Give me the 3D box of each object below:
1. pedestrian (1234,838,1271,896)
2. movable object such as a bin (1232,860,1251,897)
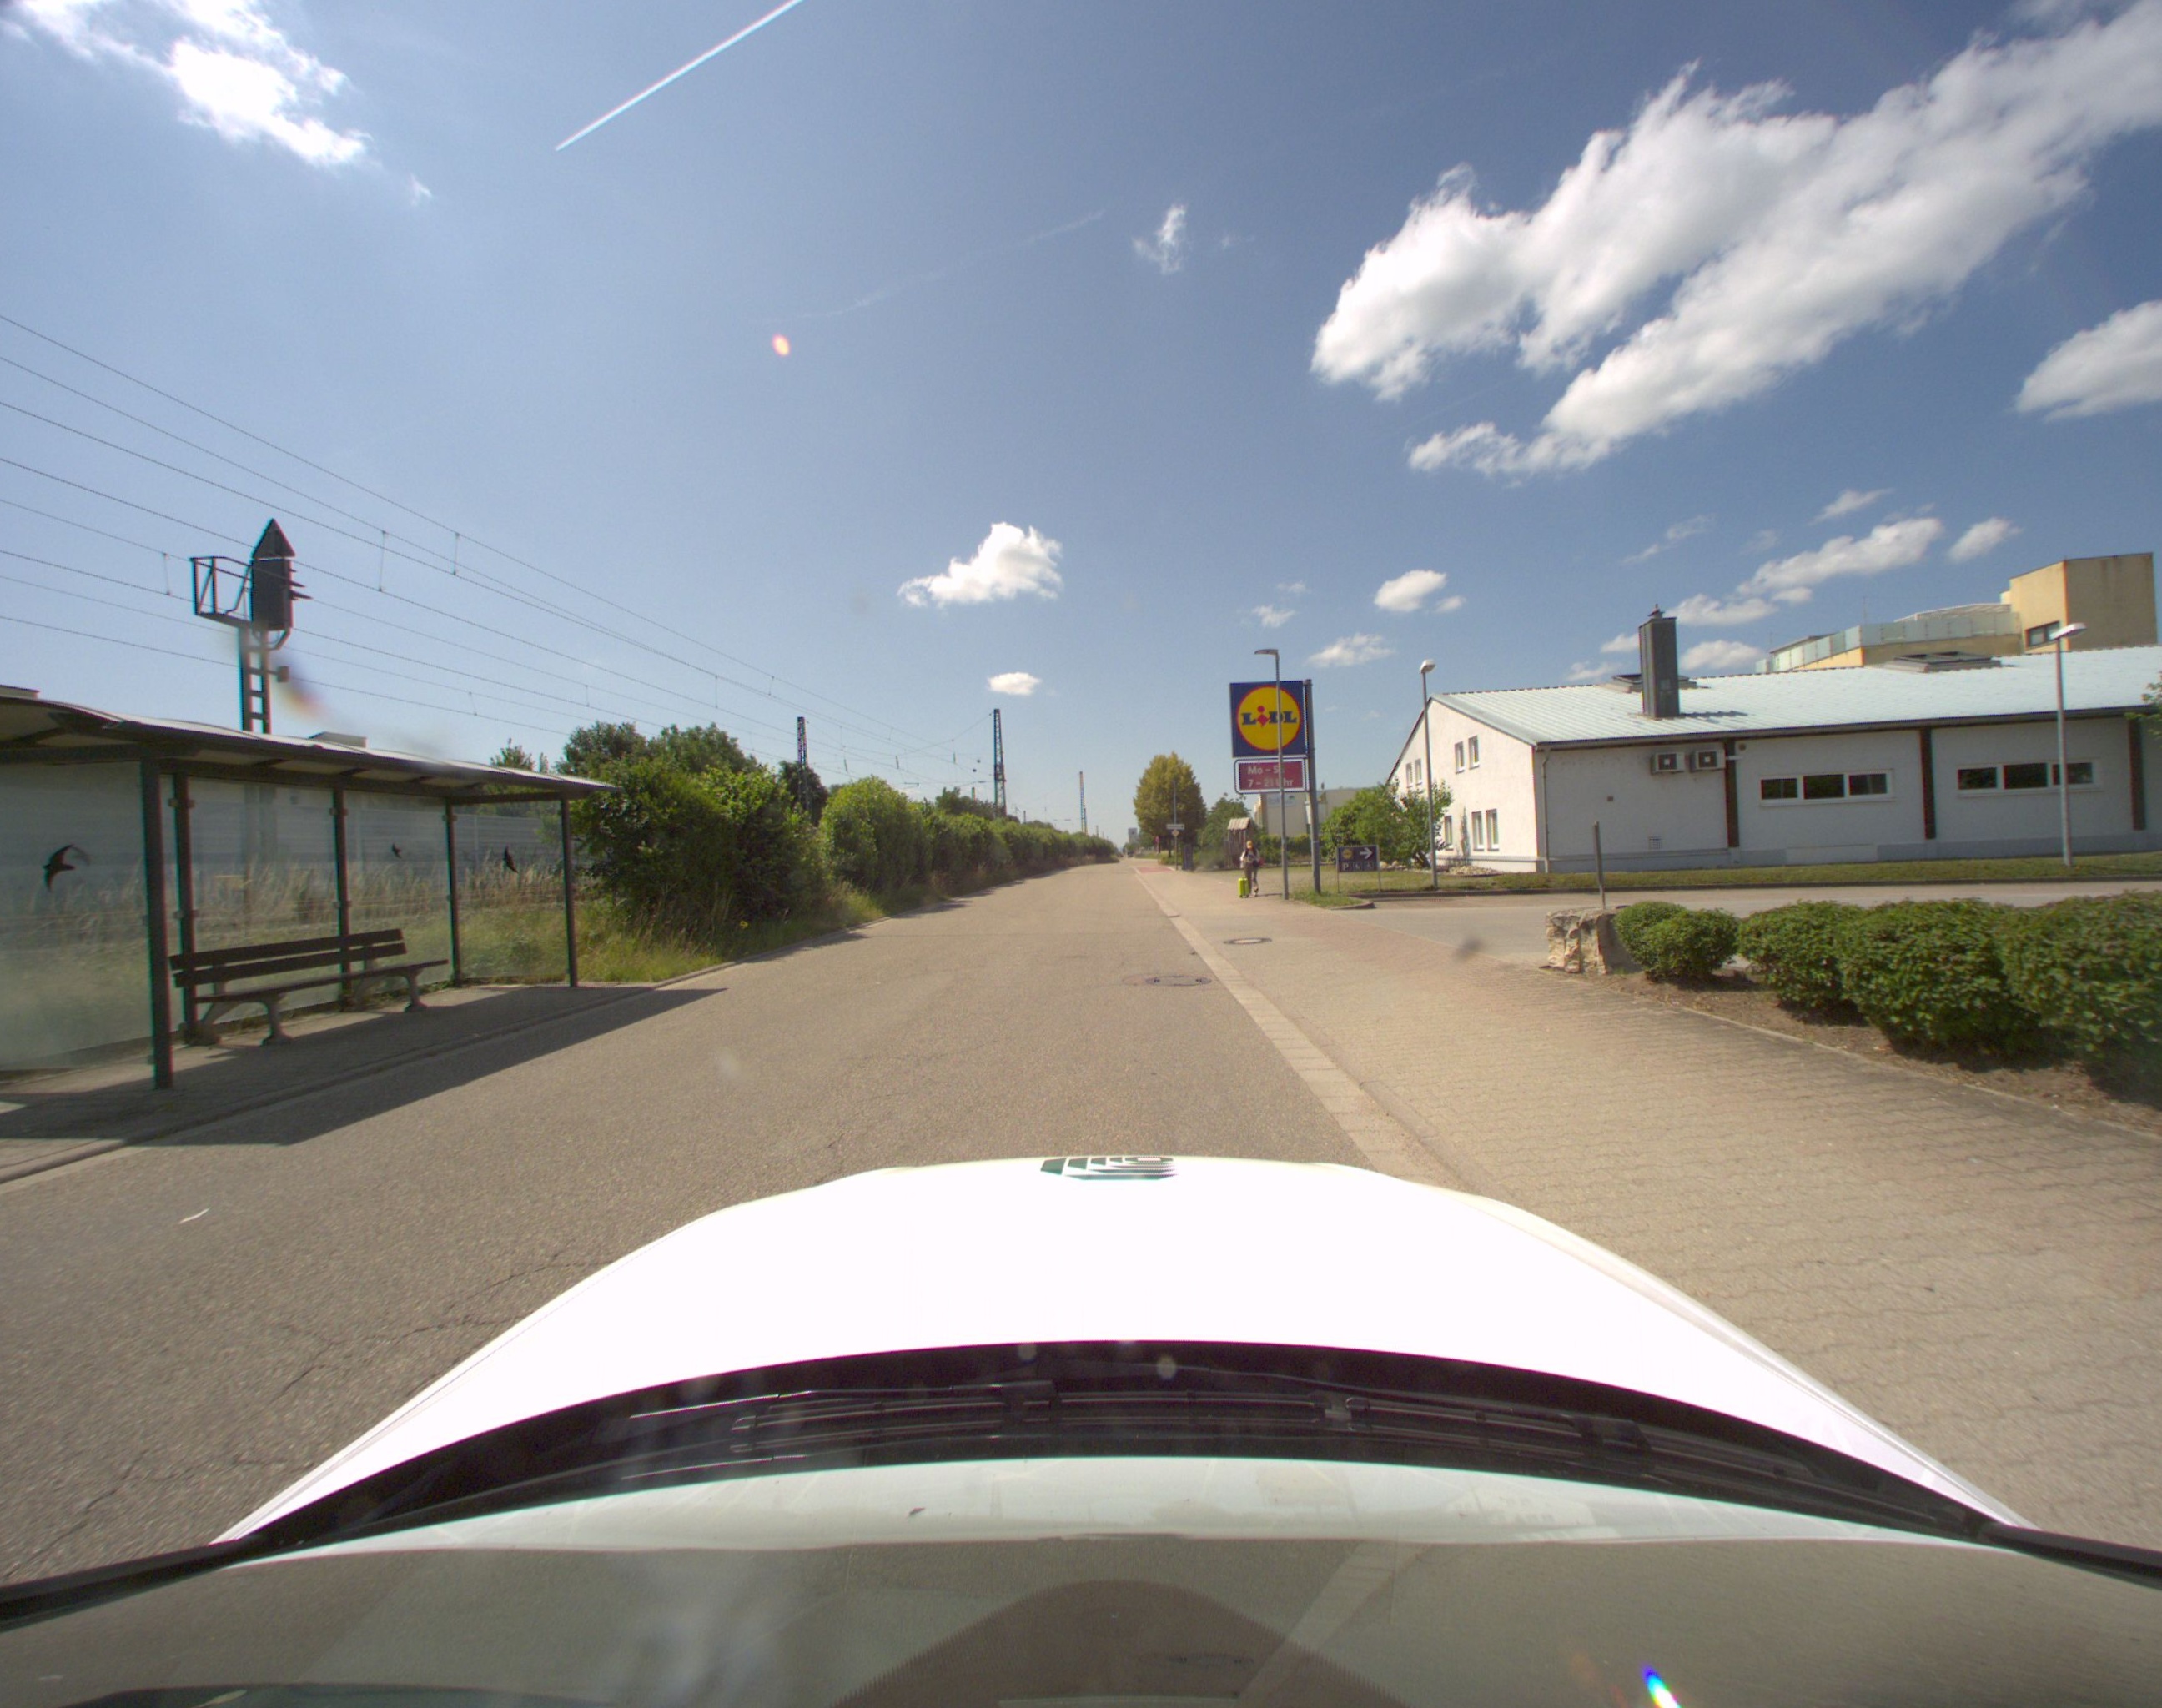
[{"bbox_3d":[4.952,0.365,23.561,0.759,1.602,1.210,-2,0,0],"label":"pedestrian"},{"bbox_3d":[4.548,0.692,23.056,0.373,1.029,0.498,-3,0,-1],"label":"movable object such as a bin"}]
